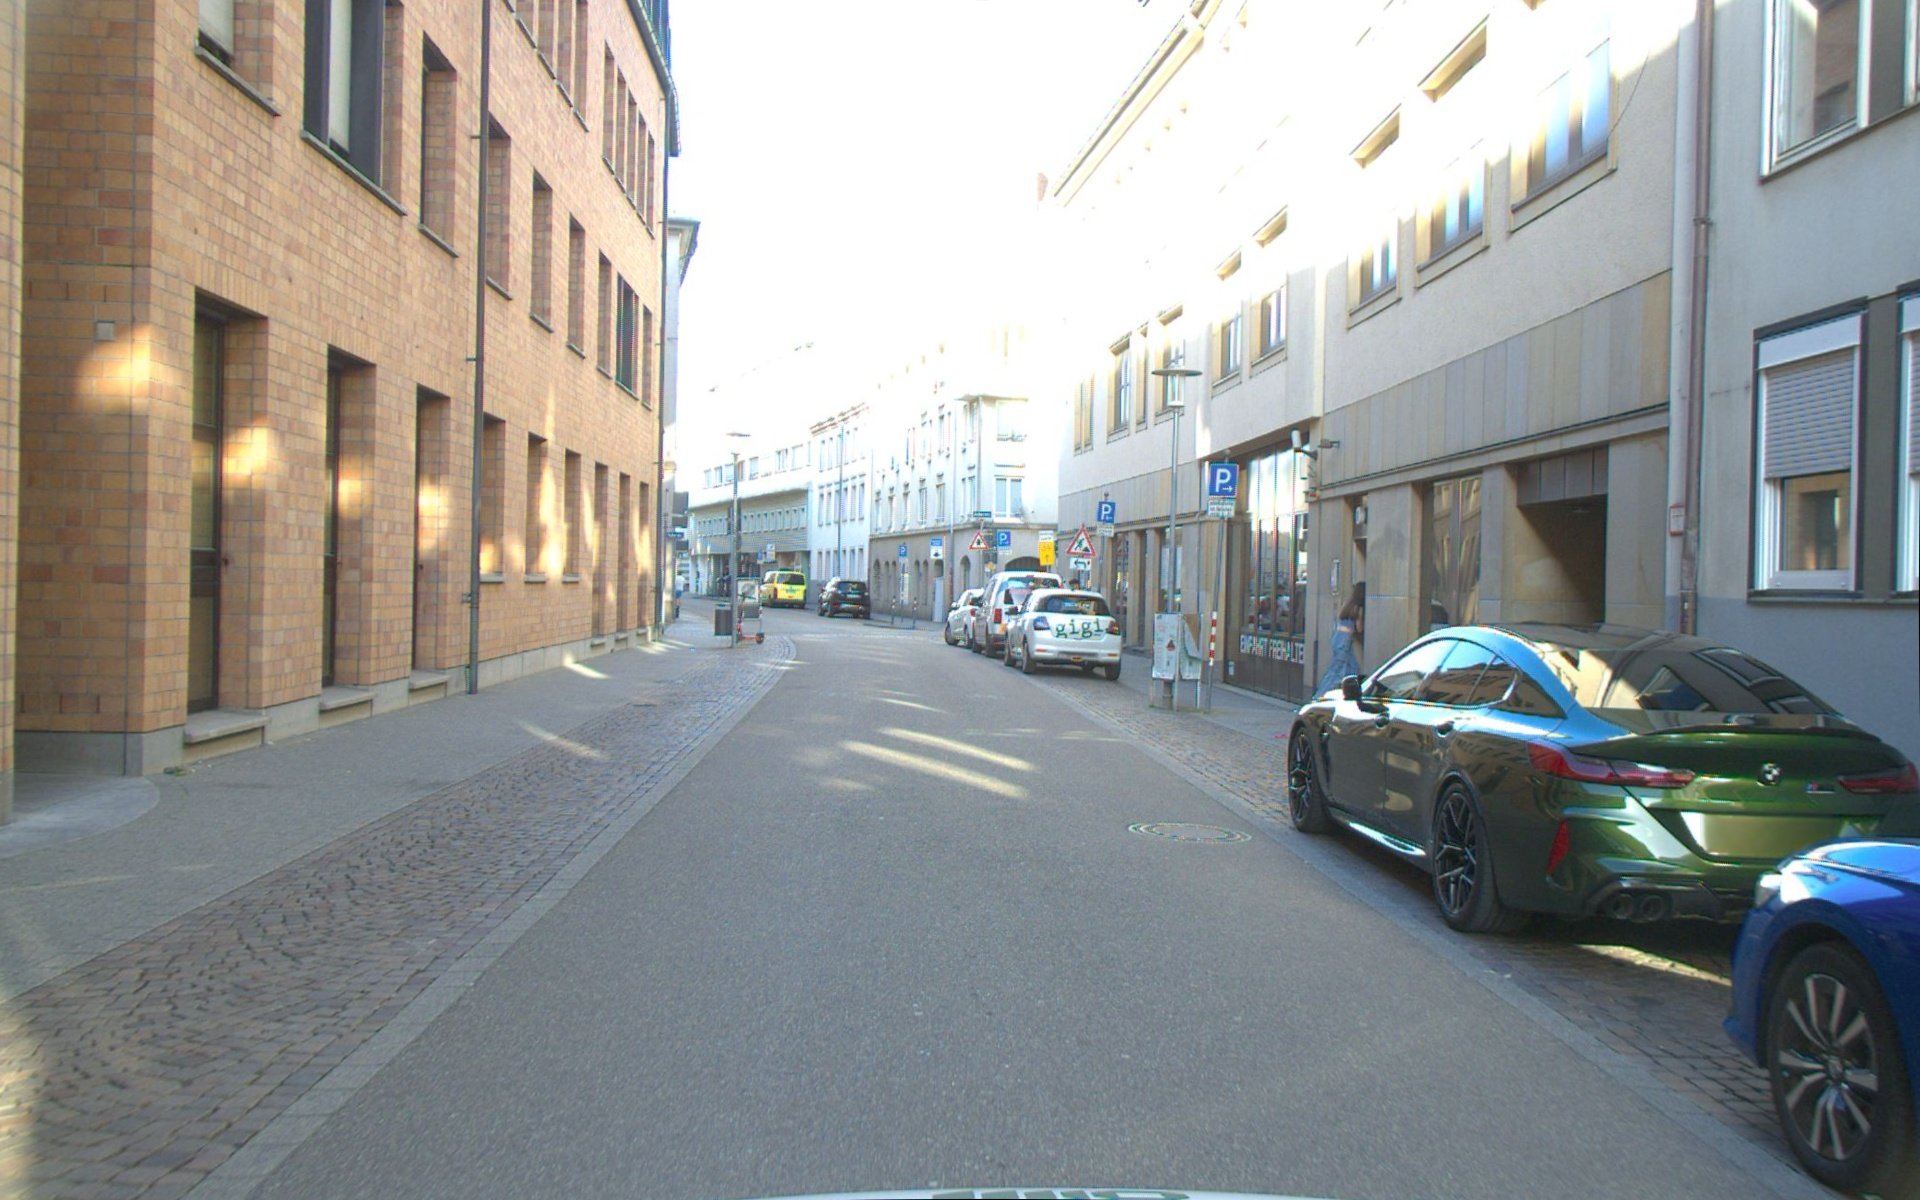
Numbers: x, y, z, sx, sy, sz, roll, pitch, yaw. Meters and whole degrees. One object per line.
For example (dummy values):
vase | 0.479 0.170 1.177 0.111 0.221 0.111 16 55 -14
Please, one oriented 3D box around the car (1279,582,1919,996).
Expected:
car | 3.223 0.699 8.861 1.856 1.478 5.224 2 1 -2

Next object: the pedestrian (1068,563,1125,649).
pedestrian | 2.962 0.118 36.003 1.022 1.833 1.197 1 0 -6

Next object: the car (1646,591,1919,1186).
car | 3.296 0.775 3.173 1.771 1.437 4.788 3 1 -2

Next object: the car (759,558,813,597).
car | -9.281 -1.213 87.979 2.021 2.048 4.154 0 1 -18

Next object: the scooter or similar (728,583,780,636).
scooter or similar | -4.991 0.221 40.155 0.683 1.238 1.357 0 1 22

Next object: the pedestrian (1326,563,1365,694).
pedestrian | 5.004 0.356 21.496 0.470 1.683 0.539 0 1 10

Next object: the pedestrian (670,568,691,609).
pedestrian | -12.150 -0.496 71.883 0.754 1.754 0.683 1 1 -19

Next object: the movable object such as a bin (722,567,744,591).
movable object such as a bin | -15.326 -1.404 111.667 1.115 1.585 1.729 1 1 -21

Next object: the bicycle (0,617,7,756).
bicycle | -4.756 0.683 6.997 0.620 1.182 1.800 3 1 -10

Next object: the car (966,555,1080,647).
car | 1.301 -0.015 36.531 1.795 1.822 5.208 2 1 -6

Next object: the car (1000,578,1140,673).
car | 1.932 0.404 30.268 1.805 1.503 4.163 3 1 -6

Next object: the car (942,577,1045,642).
car | 0.798 0.218 42.455 1.854 1.544 4.053 1 1 -10

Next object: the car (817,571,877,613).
car | -4.936 -0.367 71.990 1.934 1.721 4.088 2 1 -13
